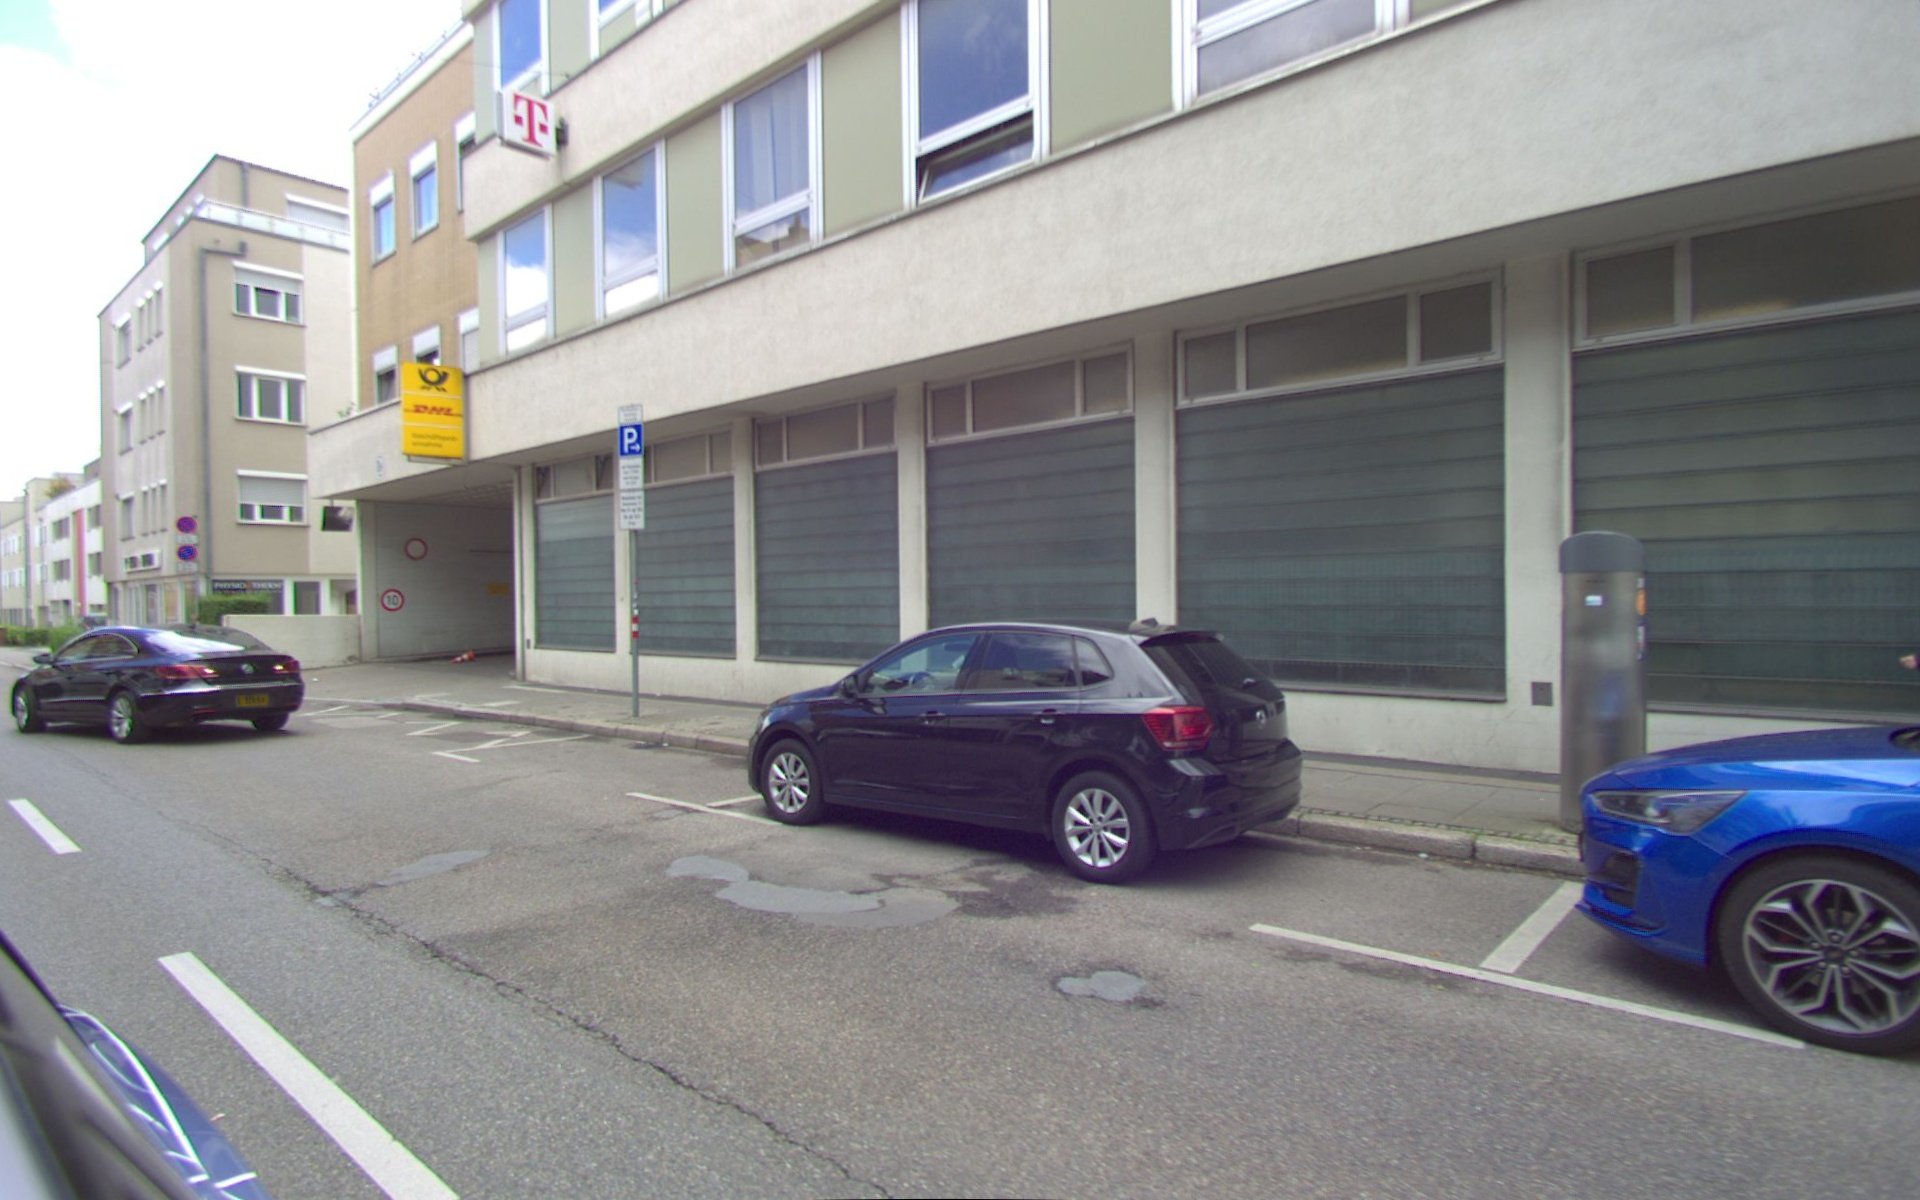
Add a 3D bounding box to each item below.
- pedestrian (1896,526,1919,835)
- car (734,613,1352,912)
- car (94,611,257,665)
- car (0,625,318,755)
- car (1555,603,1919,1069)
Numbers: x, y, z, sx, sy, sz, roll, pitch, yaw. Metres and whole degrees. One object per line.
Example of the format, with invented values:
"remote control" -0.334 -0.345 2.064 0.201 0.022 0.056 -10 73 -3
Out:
"pedestrian" 5.639 0.450 5.461 0.645 1.731 0.587 -1 -1 20
"car" 0.374 0.833 6.780 3.867 1.436 1.699 -1 -2 40
"car" -31.820 1.490 41.150 1.966 2.013 5.015 -1 -1 43
"car" -10.507 1.062 13.094 4.429 1.409 1.643 -1 0 26
"car" 4.402 0.720 2.971 4.266 1.436 1.794 -2 -2 45
